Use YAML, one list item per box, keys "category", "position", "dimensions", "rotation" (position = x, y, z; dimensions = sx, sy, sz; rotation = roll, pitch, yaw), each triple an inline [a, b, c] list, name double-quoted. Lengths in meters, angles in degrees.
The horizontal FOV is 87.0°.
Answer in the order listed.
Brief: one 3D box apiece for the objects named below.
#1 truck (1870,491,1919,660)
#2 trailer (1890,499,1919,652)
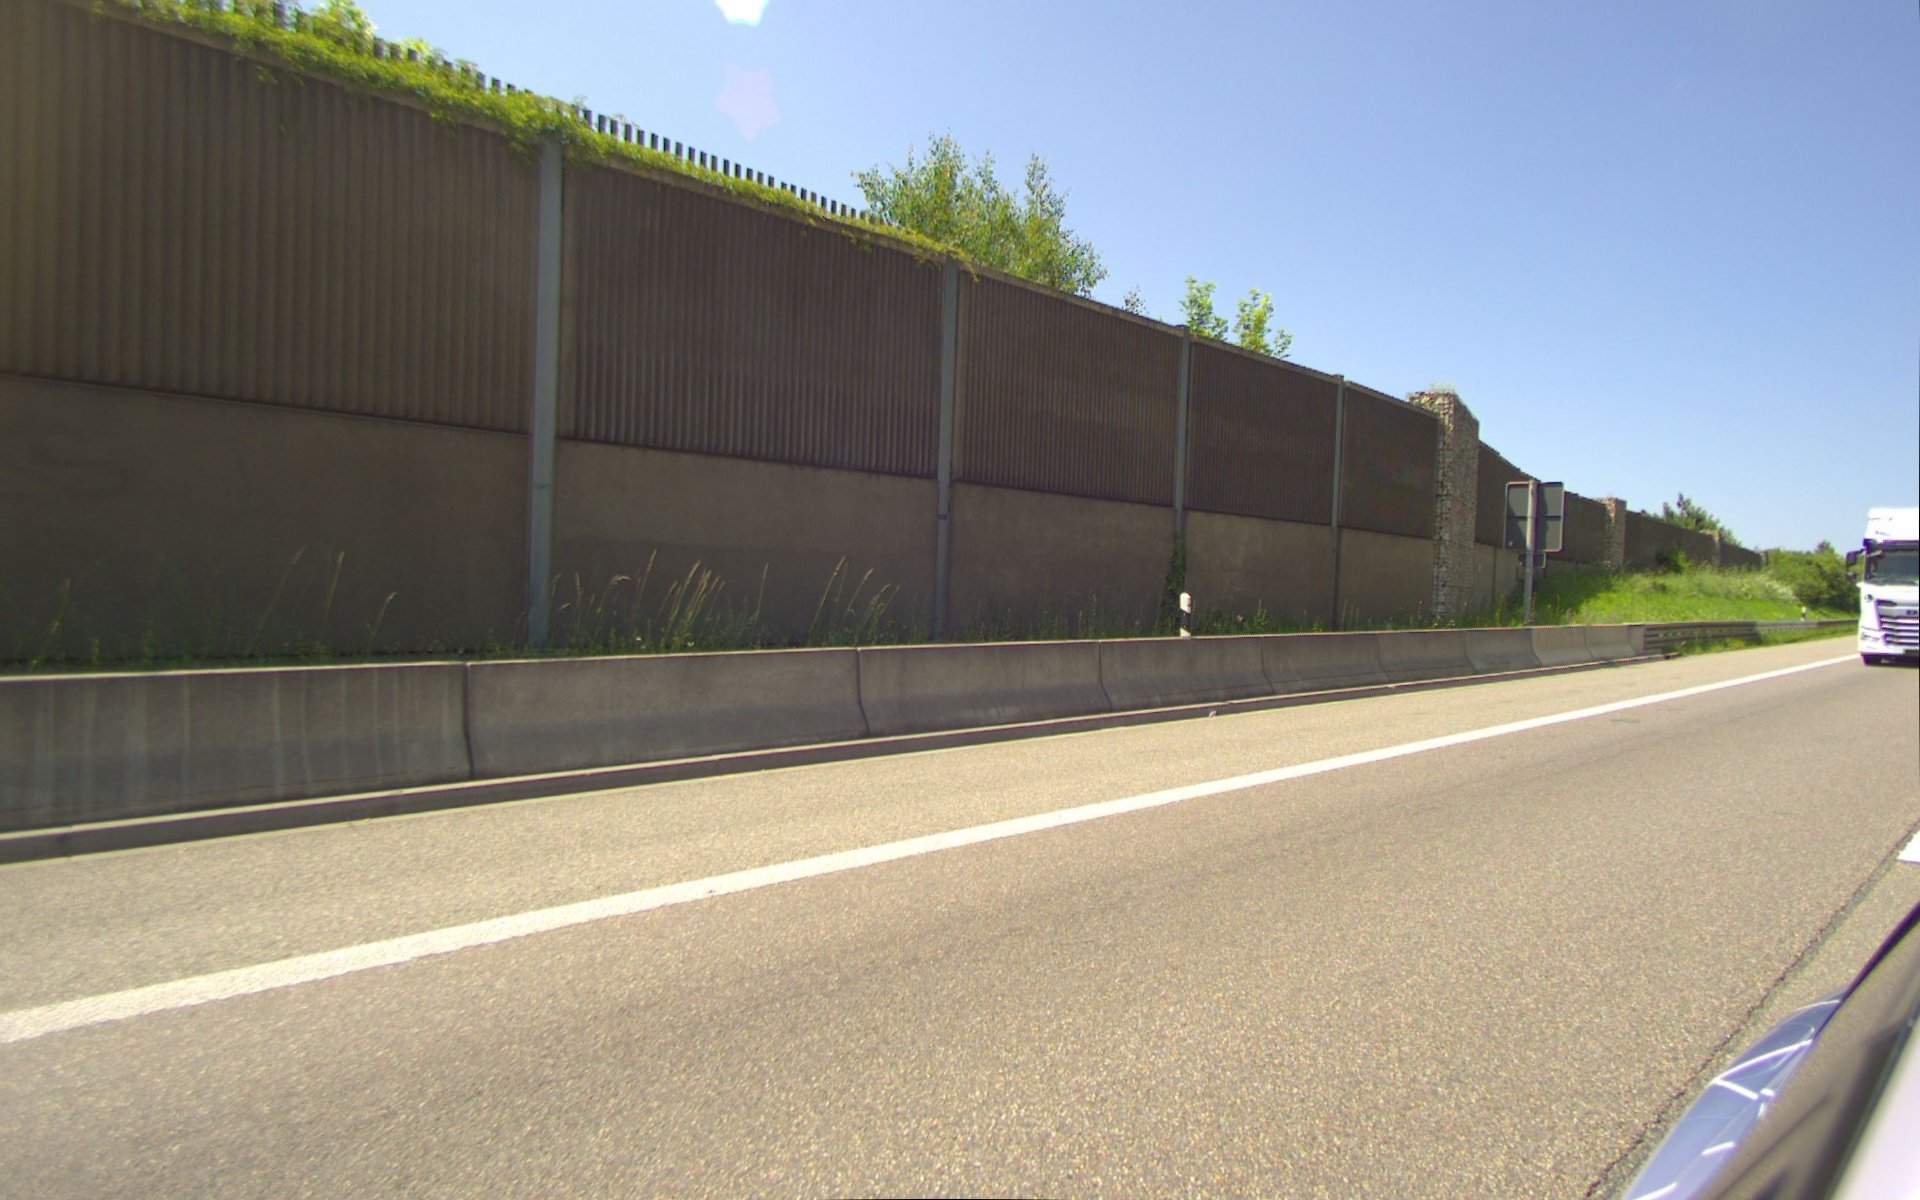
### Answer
- category: "truck"
  position: [25.546, -0.573, 25.990]
  dimensions: [6.269, 4.027, 2.482]
  rotation: [0, 1, -41]
- category: "trailer"
  position: [30.820, -0.618, 30.608]
  dimensions: [13.417, 4.027, 2.482]
  rotation: [0, 1, -41]
